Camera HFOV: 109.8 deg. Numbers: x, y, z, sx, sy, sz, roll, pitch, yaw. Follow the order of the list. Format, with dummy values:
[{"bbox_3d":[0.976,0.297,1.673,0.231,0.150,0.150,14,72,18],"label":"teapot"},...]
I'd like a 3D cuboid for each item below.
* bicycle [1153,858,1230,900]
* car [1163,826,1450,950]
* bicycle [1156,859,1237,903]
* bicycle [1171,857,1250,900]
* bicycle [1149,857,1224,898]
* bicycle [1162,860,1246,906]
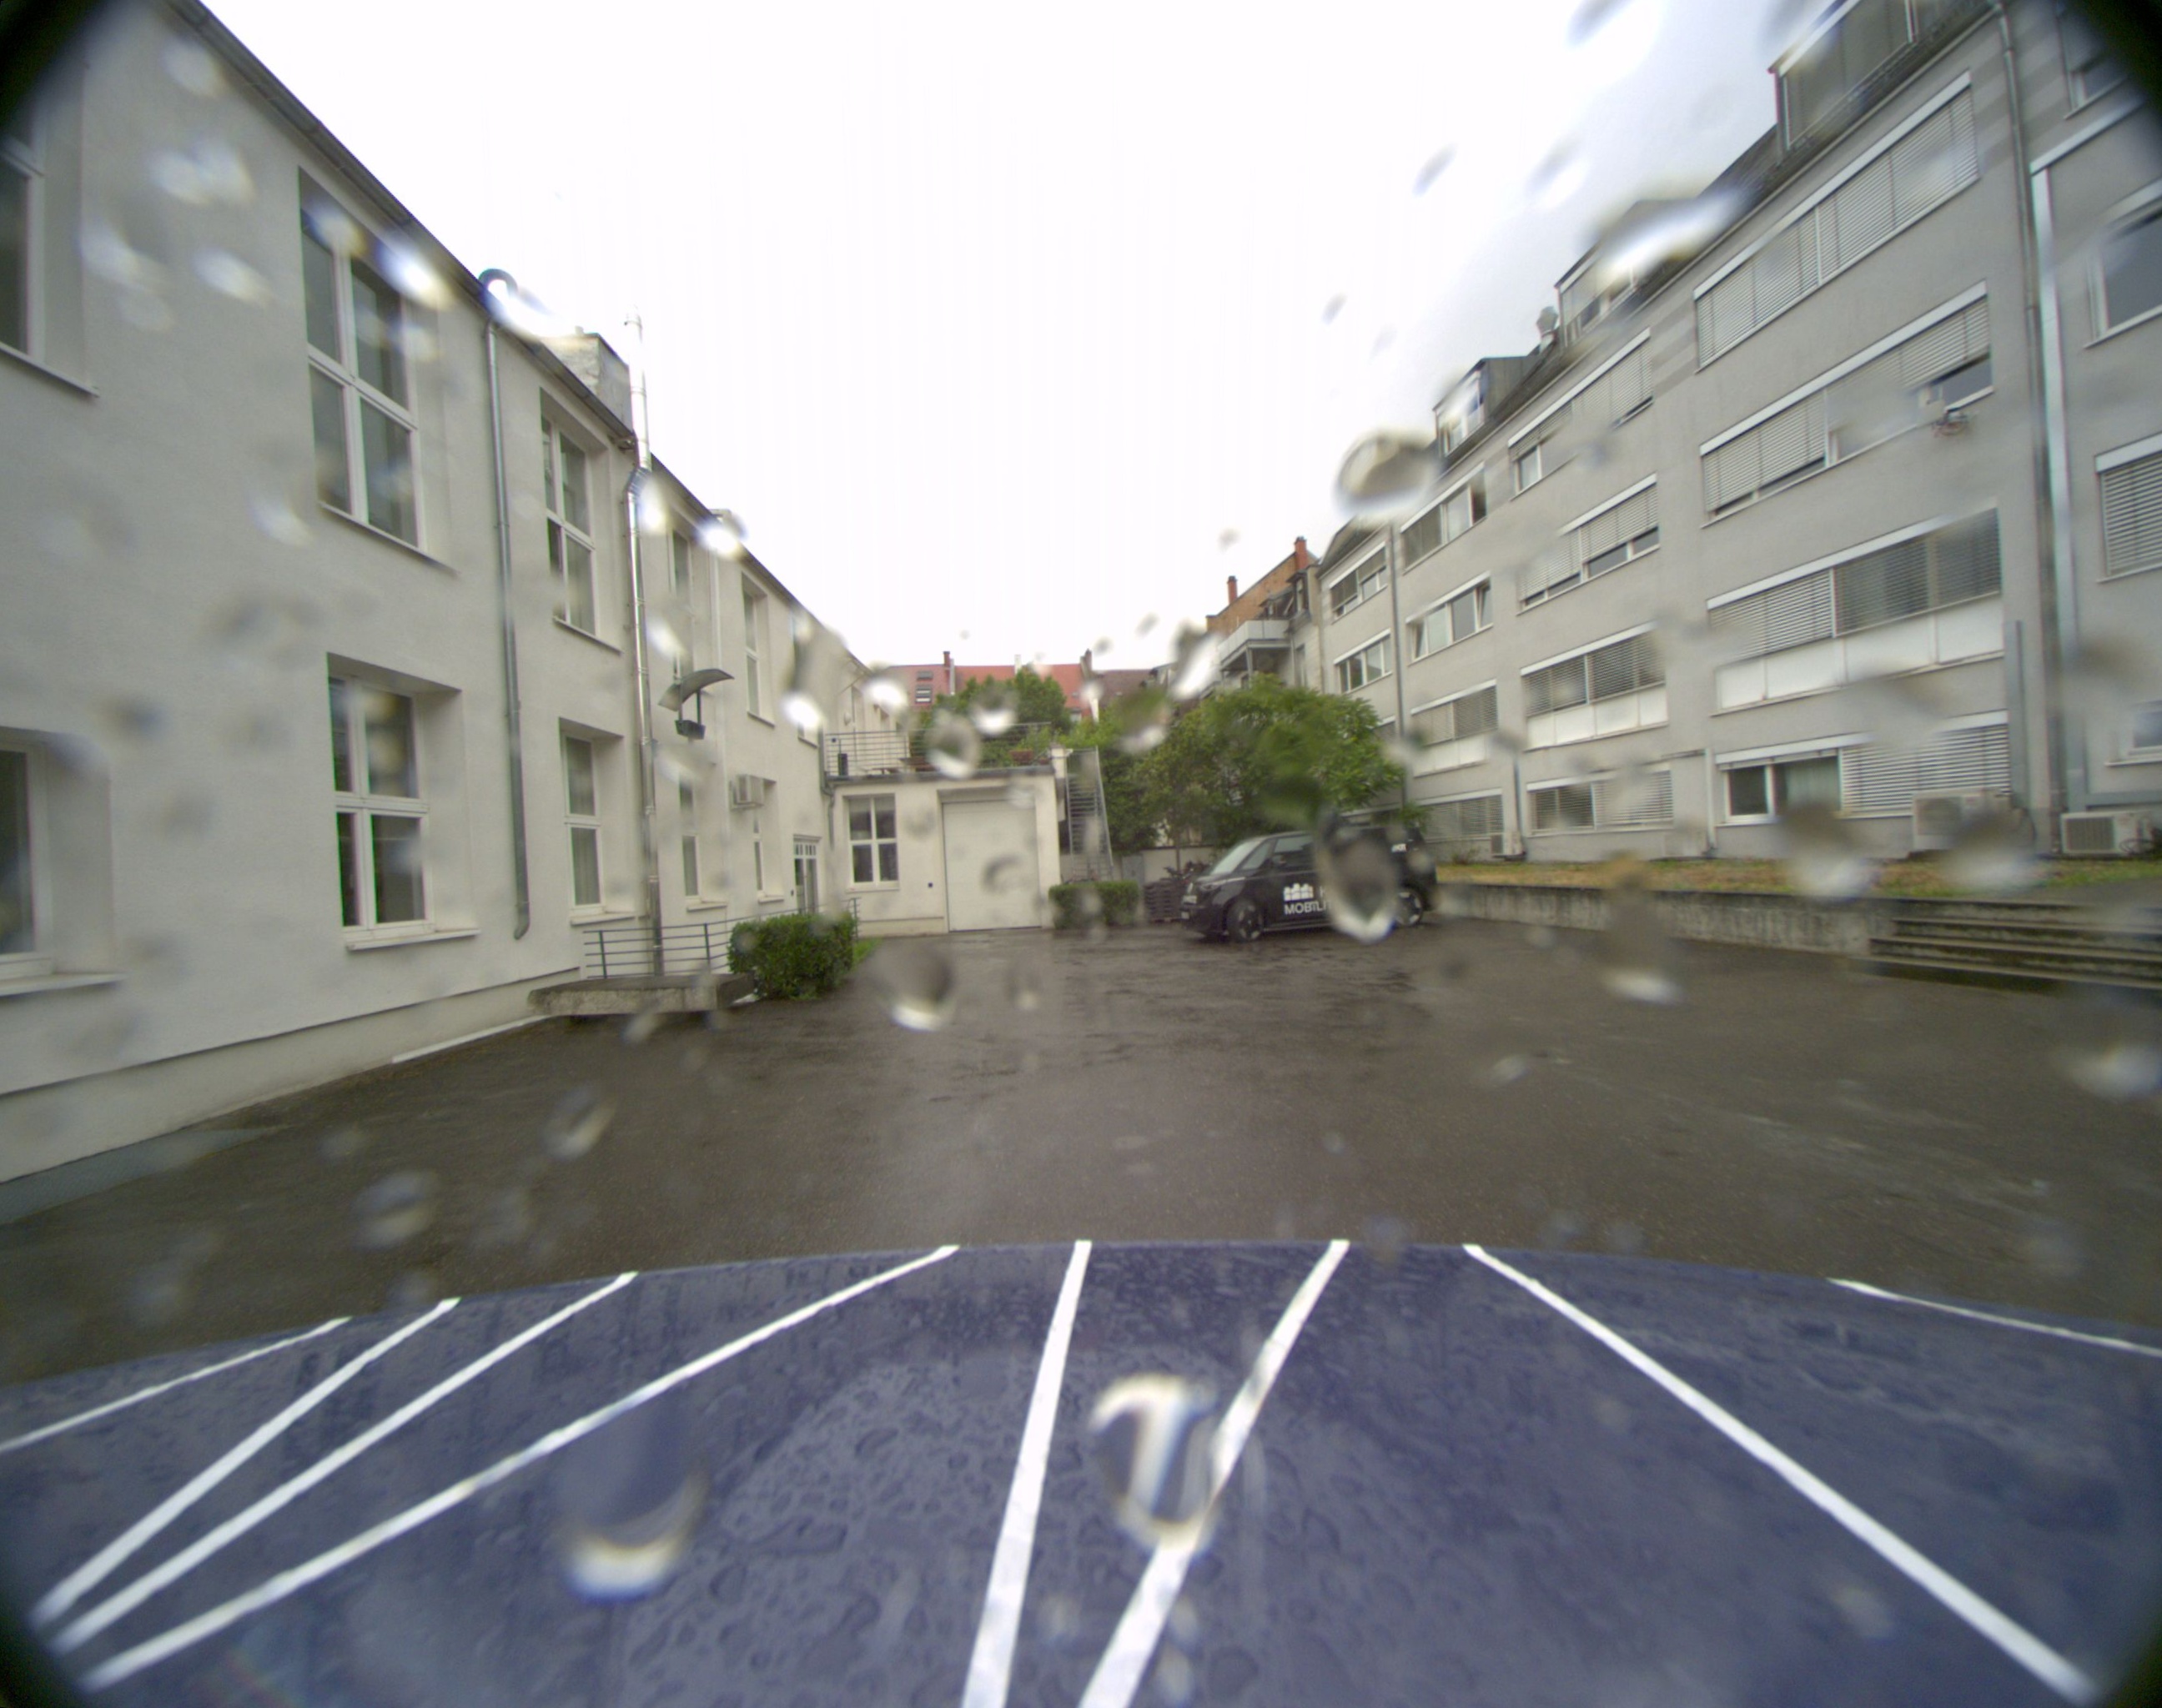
[{"bbox_3d":[3.550,0.788,24.535,2.319,1.180,0.643,-3,3,-1],"label":"bicycle"},{"bbox_3d":[4.081,0.601,14.164,4.631,1.825,1.987,-4,-1,-9],"label":"car"},{"bbox_3d":[3.542,0.831,23.367,2.319,1.180,0.643,-3,3,-1],"label":"bicycle"},{"bbox_3d":[4.077,0.775,24.042,2.319,1.180,0.643,-3,3,-1],"label":"bicycle"},{"bbox_3d":[3.486,0.769,25.165,2.319,1.180,0.643,-3,3,-1],"label":"bicycle"},{"bbox_3d":[3.641,0.854,22.572,2.319,1.180,0.643,-3,3,-1],"label":"bicycle"}]
